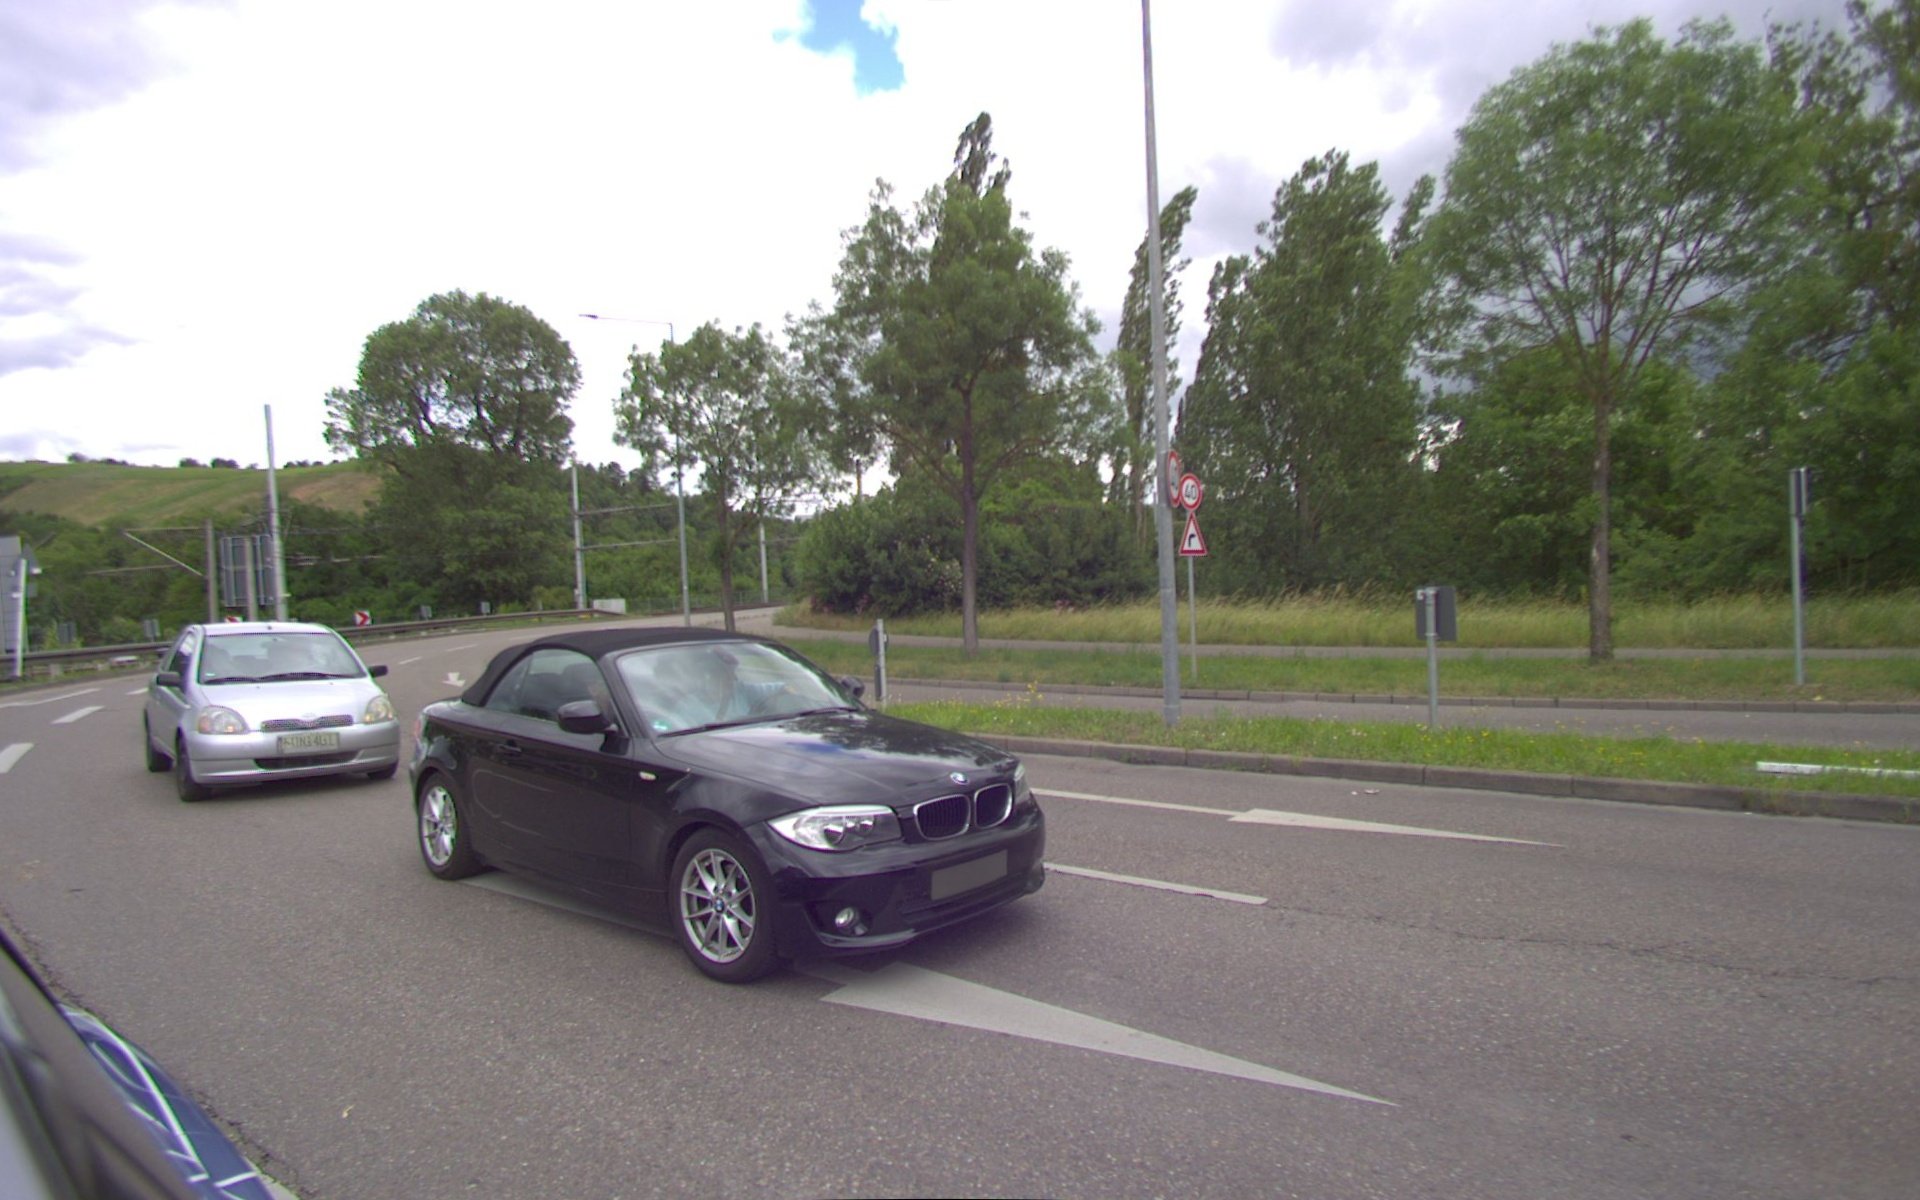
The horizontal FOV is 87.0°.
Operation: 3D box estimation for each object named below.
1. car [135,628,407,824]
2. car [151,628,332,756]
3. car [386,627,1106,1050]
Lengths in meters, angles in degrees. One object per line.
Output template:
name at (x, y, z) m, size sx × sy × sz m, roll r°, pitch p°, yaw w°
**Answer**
car at (-6.811, 1.043, 9.855) m, size 1.649 × 1.481 × 3.632 m, roll -1°, pitch 0°, yaw -43°
car at (-10.428, 1.175, 14.783) m, size 1.848 × 1.488 × 4.976 m, roll 0°, pitch -1°, yaw -35°
car at (-1.397, 0.883, 5.335) m, size 4.081 × 1.378 × 1.547 m, roll -2°, pitch -1°, yaw 41°
